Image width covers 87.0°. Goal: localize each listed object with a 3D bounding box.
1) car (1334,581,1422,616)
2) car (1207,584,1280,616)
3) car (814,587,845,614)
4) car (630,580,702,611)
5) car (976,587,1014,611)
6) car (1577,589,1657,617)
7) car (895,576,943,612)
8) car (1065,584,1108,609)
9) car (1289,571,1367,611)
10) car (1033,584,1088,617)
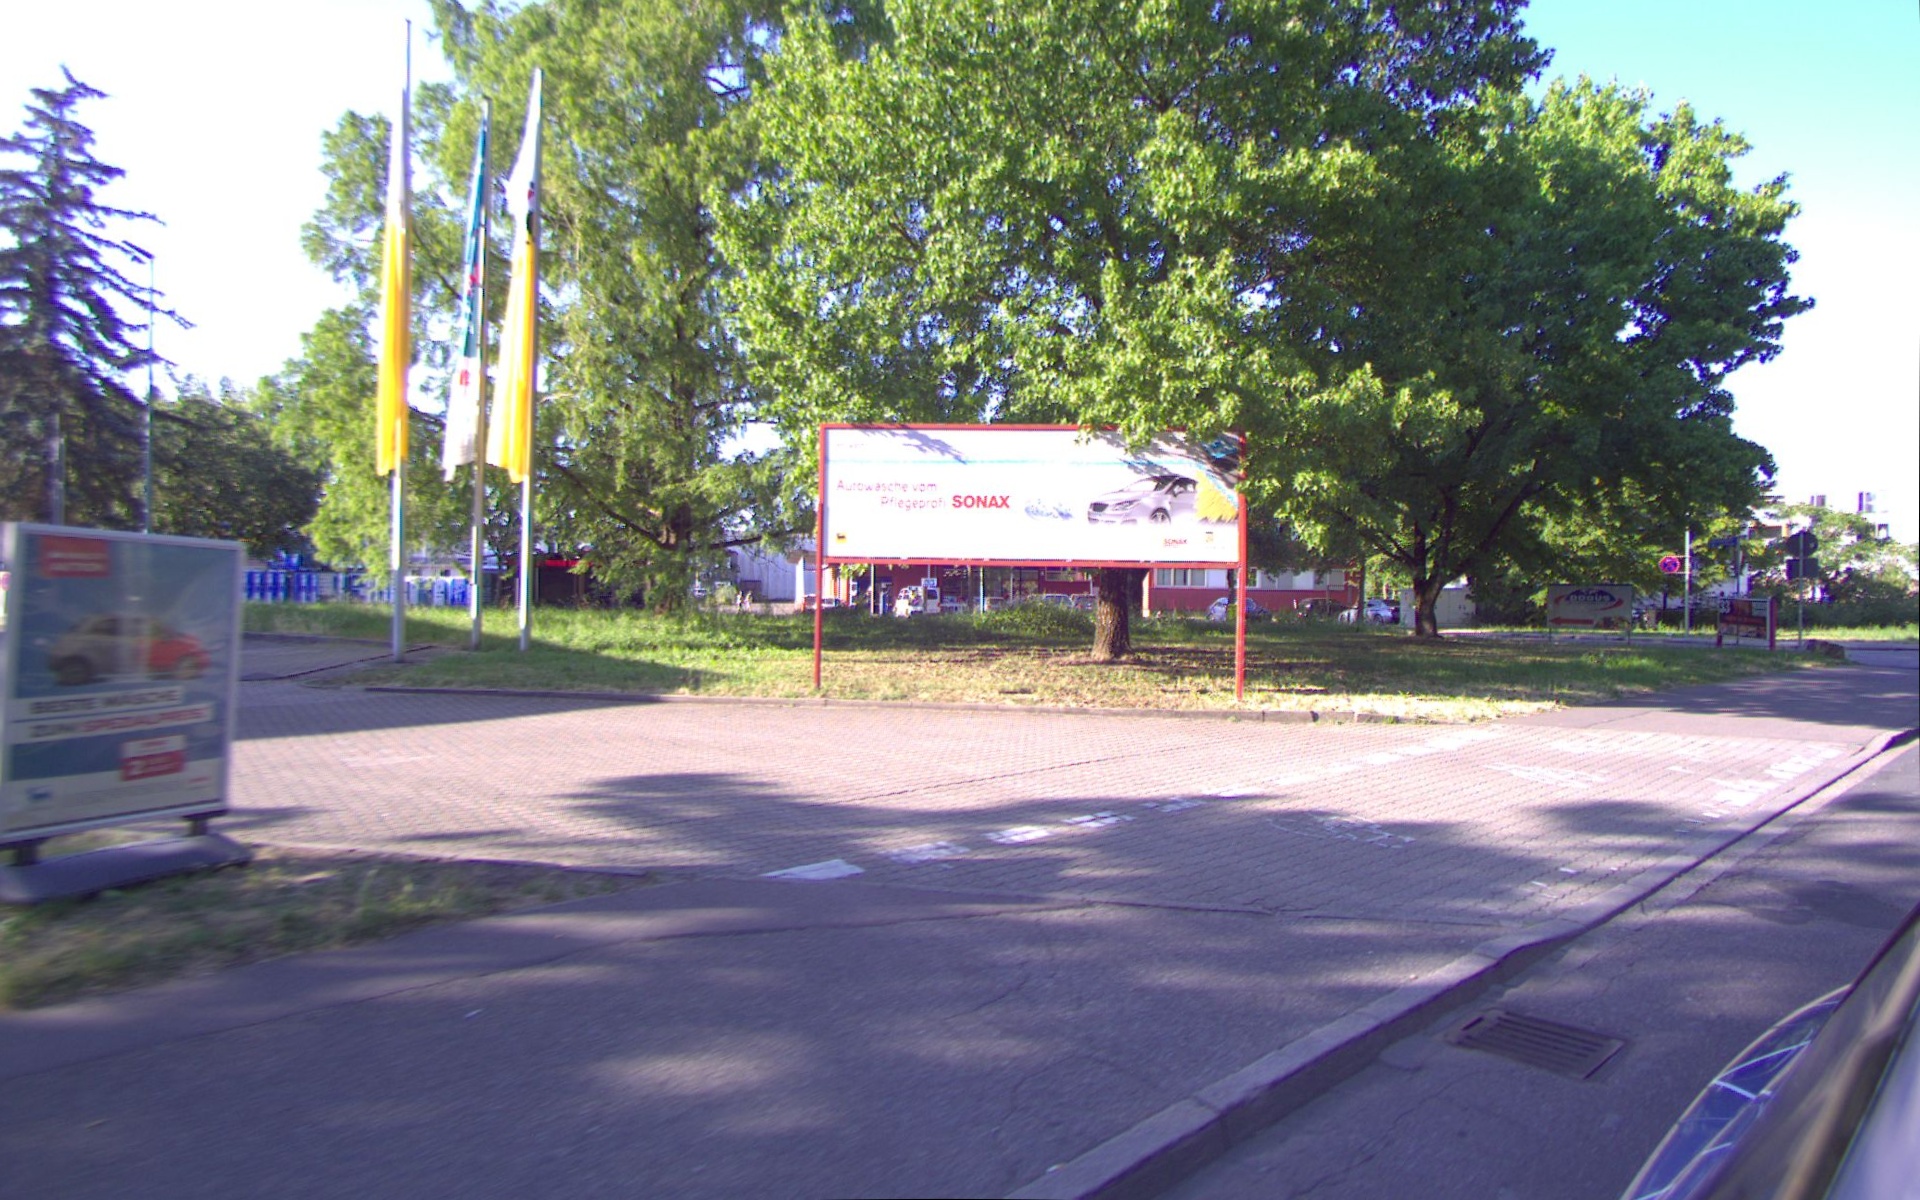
[{"bbox_3d":[20.358,-0.054,49.465,1.959,1.614,4.451,-1,0,-8],"label":"car"},{"bbox_3d":[13.967,0.022,50.167,1.752,1.495,4.673,-1,-1,-8],"label":"car"},{"bbox_3d":[-7.654,0.054,59.045,1.651,1.501,3.950,-1,-1,-9],"label":"car"},{"bbox_3d":[-17.237,-0.242,59.468,3.788,1.710,1.703,-1,-1,-5],"label":"car"},{"bbox_3d":[2.072,-0.056,61.051,1.651,1.368,3.557,-1,-1,-8],"label":"car"},{"bbox_3d":[41.193,0.157,63.577,1.869,1.593,4.009,-1,2,-13],"label":"car"},{"bbox_3d":[-2.497,-0.311,60.038,1.853,2.000,4.656,-1,-1,-15],"label":"car"},{"bbox_3d":[7.735,-0.216,62.181,1.651,1.444,3.557,-1,-1,-8],"label":"car"},{"bbox_3d":[17.924,-0.474,49.477,1.671,1.840,4.453,0,1,-8],"label":"car"},{"bbox_3d":[4.782,0.066,48.708,1.753,1.495,4.201,-1,-1,-6],"label":"car"}]
